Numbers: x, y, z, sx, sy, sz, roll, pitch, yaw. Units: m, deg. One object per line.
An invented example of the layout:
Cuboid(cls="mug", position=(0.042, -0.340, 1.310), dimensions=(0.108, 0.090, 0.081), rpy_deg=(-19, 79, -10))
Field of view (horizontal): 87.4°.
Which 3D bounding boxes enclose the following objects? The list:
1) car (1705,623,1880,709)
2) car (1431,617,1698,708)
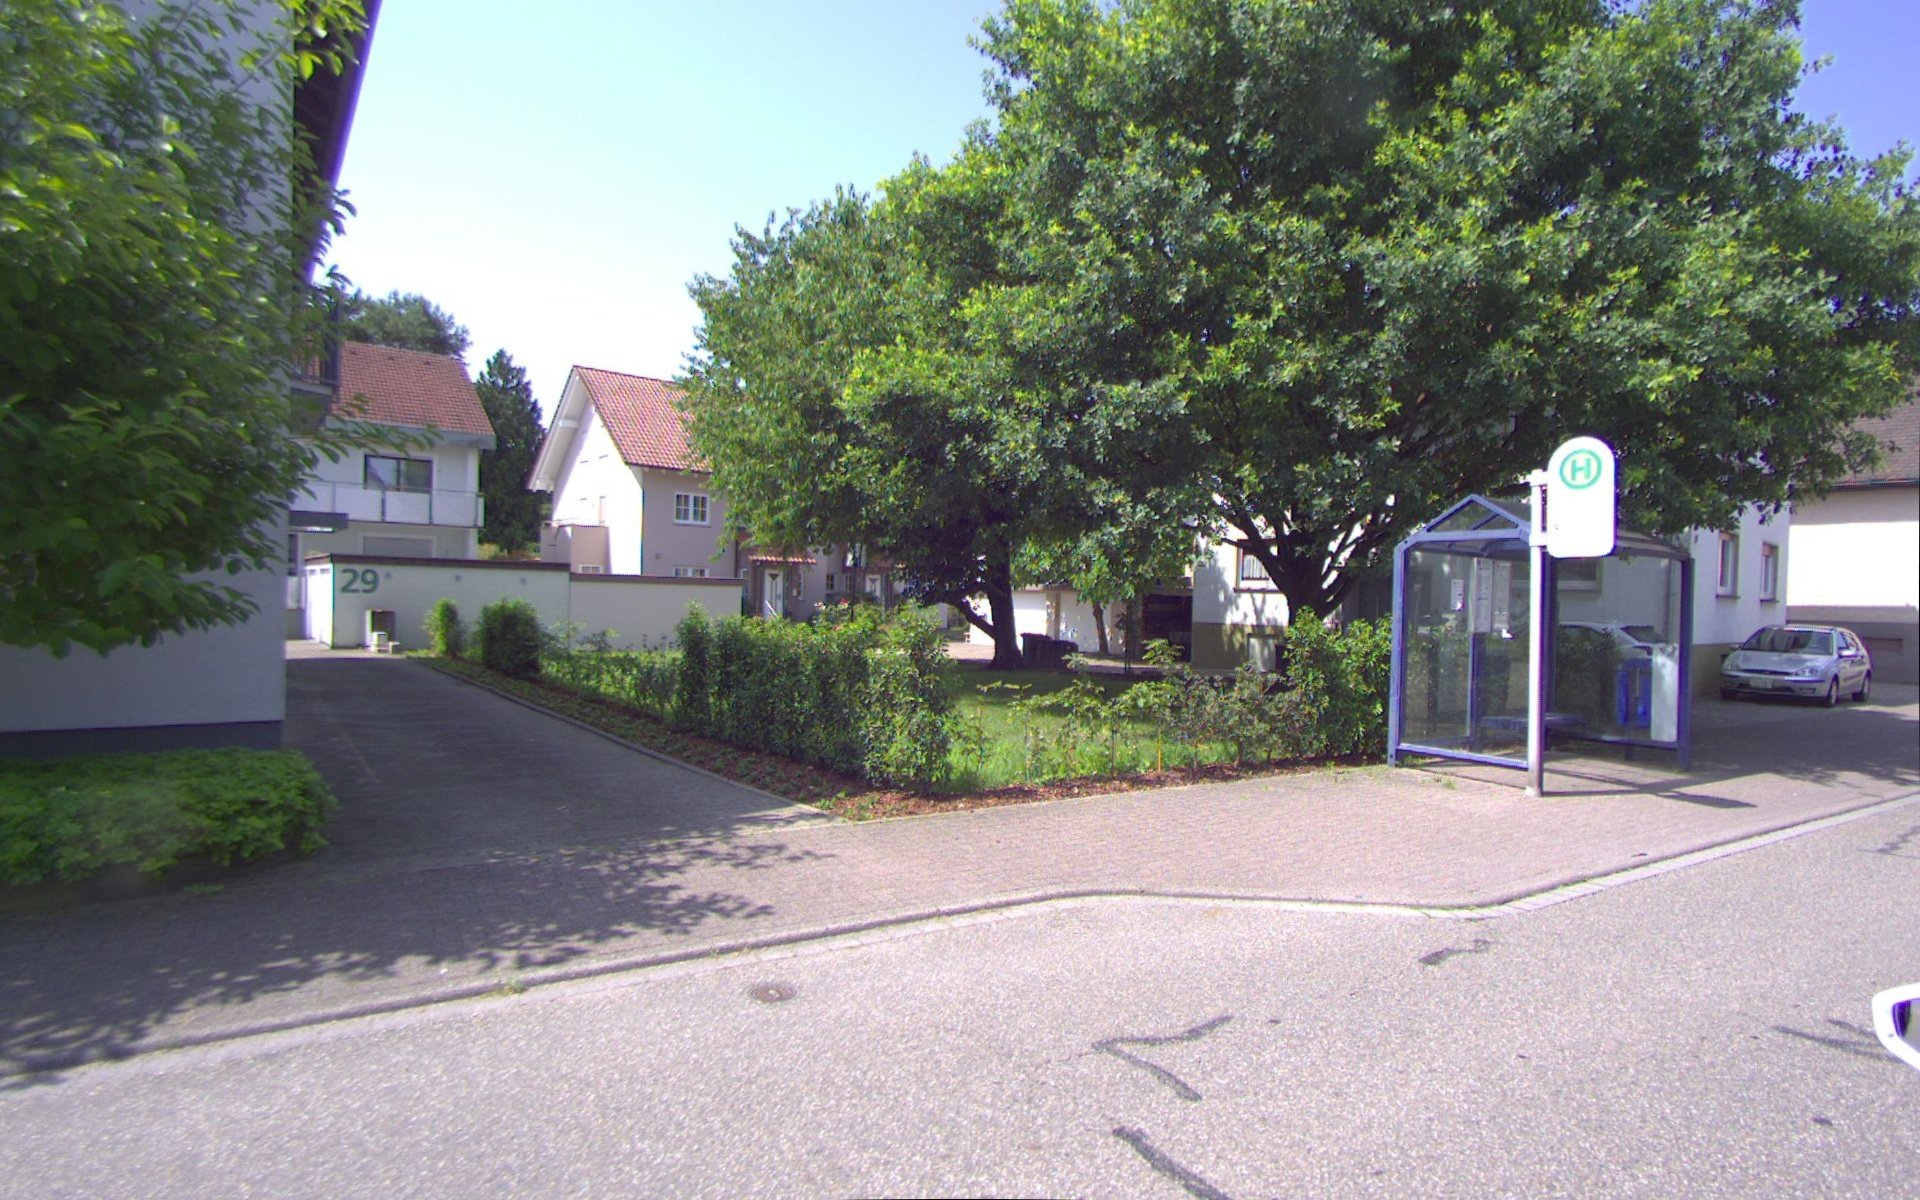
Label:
Cuboid(cls="car", position=(16.354, 1.218, 19.676), dimensions=(4.019, 1.454, 1.765), rpy_deg=(1, 1, -38))
Cuboid(cls="car", position=(11.636, 1.128, 19.596), dimensions=(1.756, 1.559, 4.132), rpy_deg=(1, -1, -35))
